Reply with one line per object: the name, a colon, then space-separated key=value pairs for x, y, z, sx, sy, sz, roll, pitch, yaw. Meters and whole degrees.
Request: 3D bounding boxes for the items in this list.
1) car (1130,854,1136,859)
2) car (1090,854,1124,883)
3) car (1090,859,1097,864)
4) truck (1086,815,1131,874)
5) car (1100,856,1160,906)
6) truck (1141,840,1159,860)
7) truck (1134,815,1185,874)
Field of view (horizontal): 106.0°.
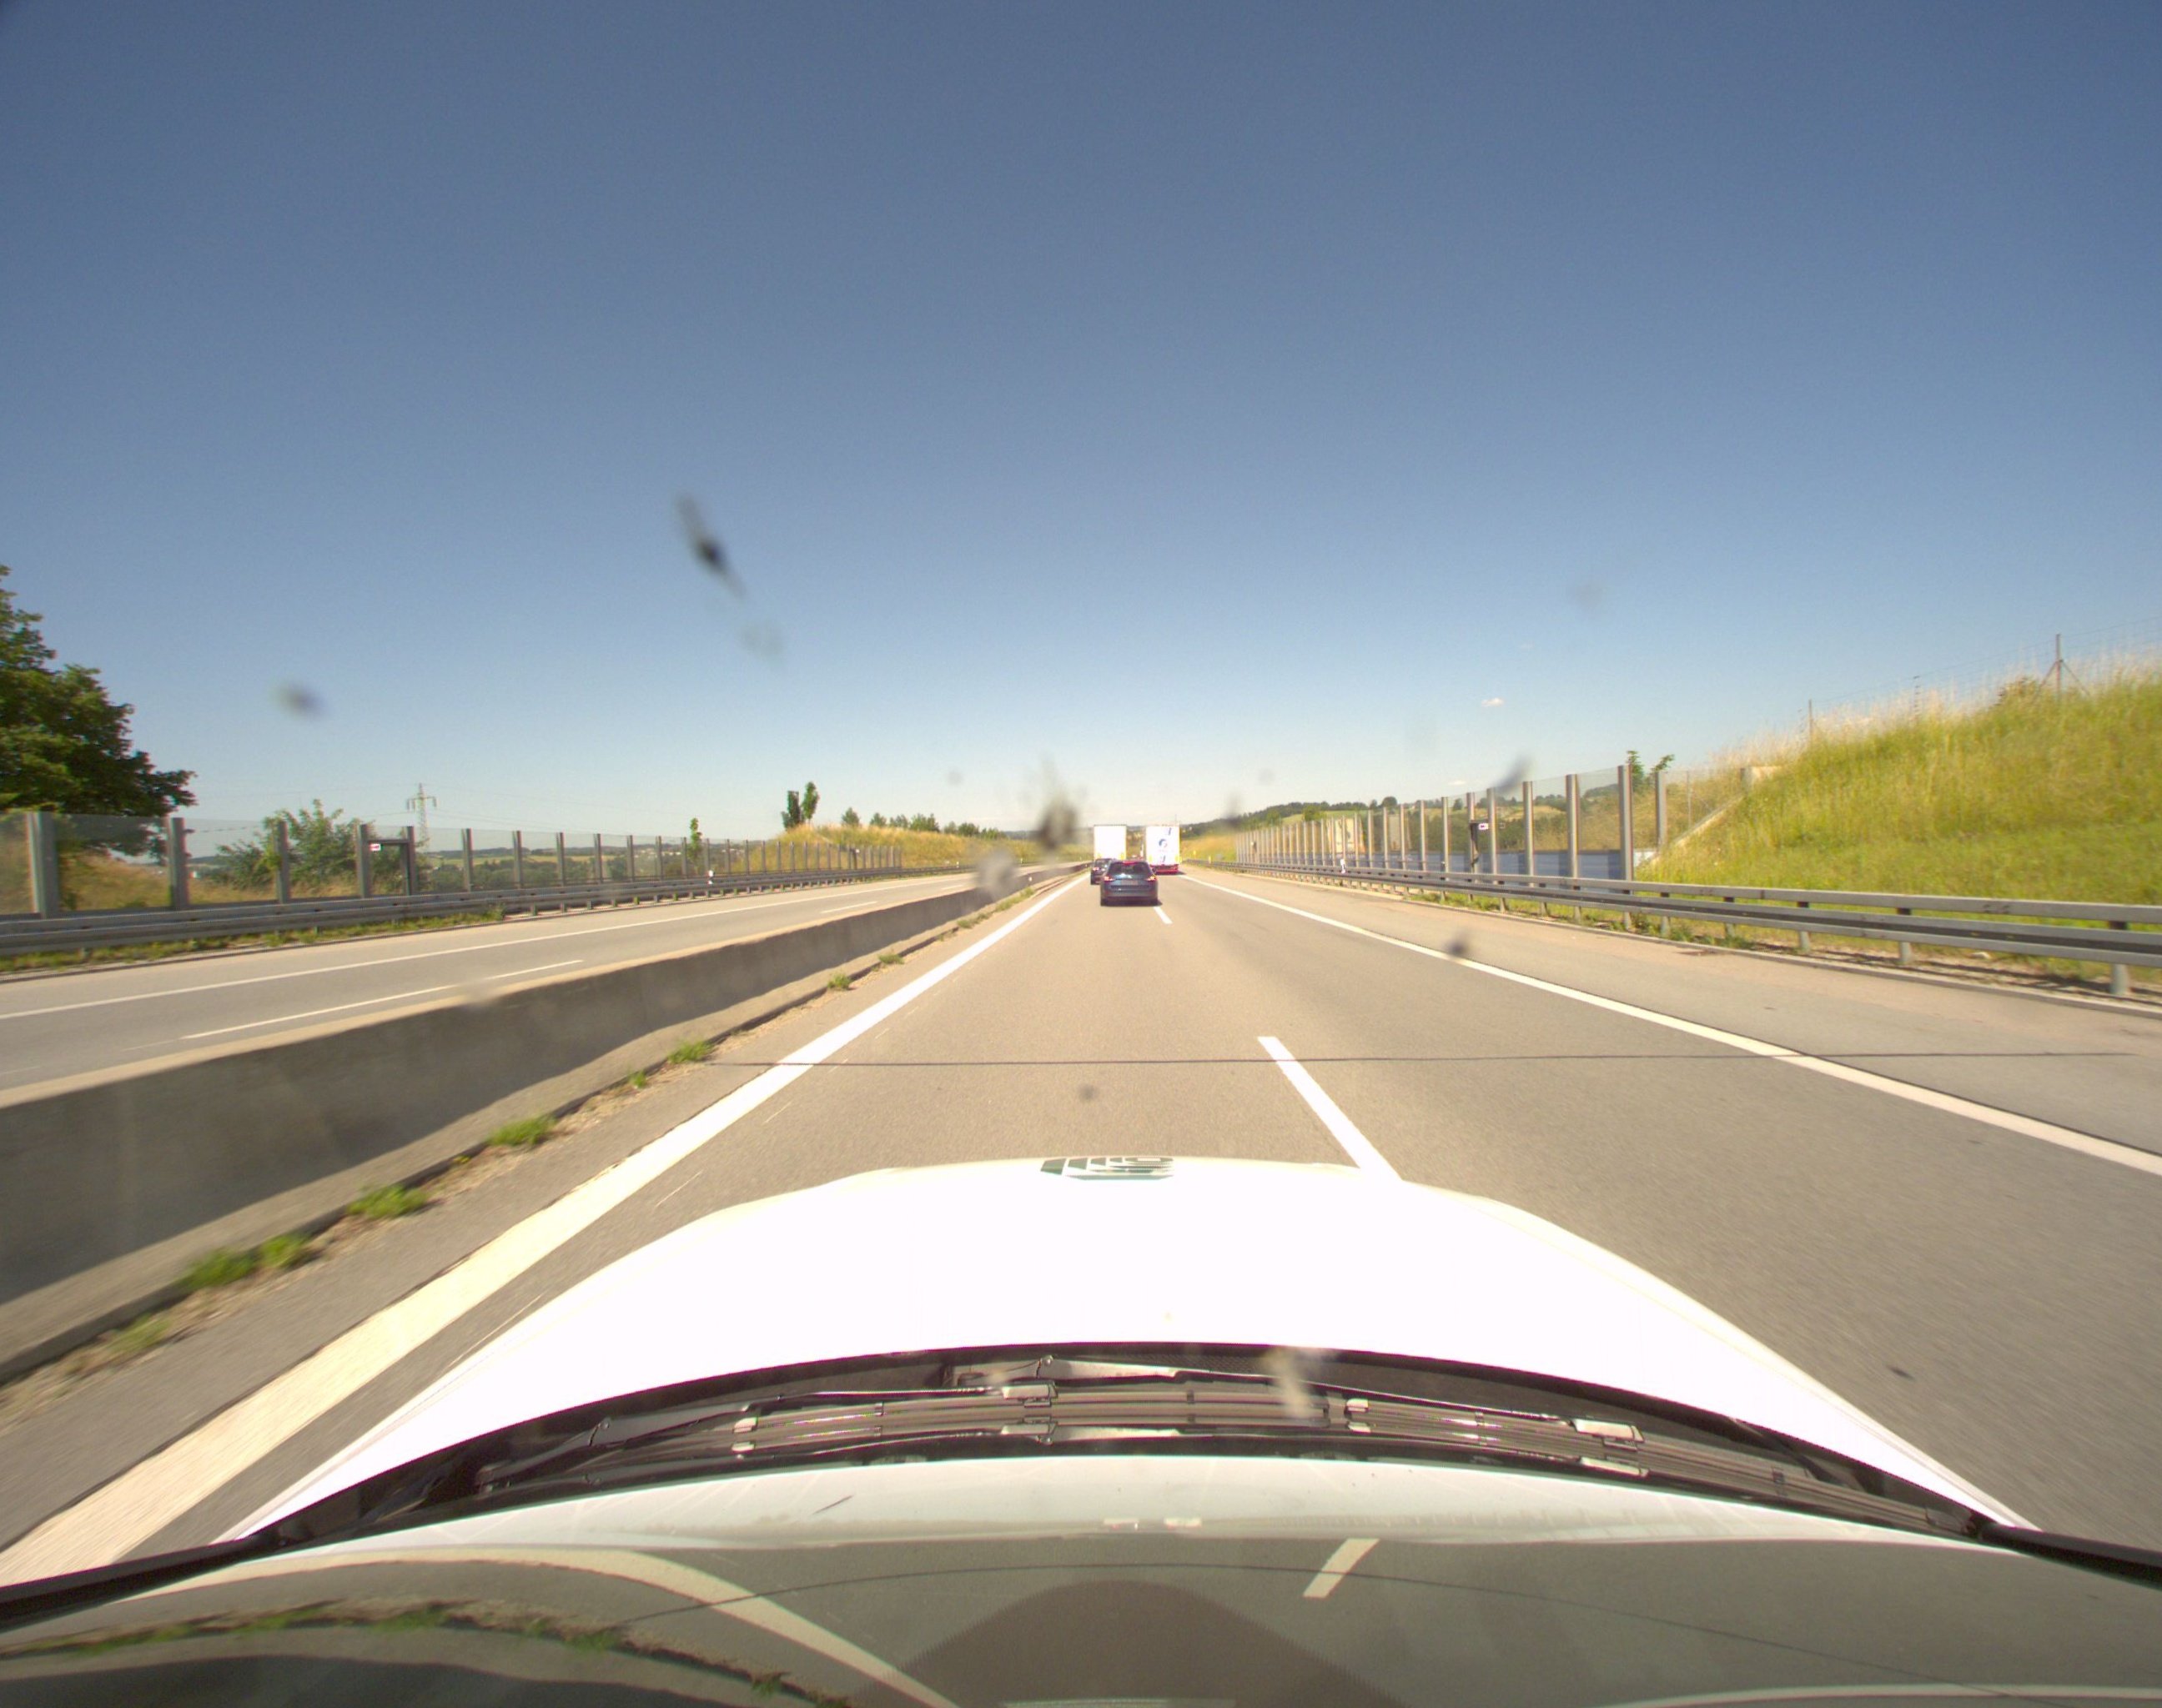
car: x=14.950 y=0.599 z=233.344 sx=1.693 sy=1.441 sz=4.002 roll=-1 pitch=0 yaw=2
car: x=1.401 y=0.787 z=45.137 sx=1.695 sy=1.441 sz=3.999 roll=-4 pitch=0 yaw=-1
car: x=3.471 y=2.085 z=221.054 sx=1.739 sy=1.356 sz=4.003 roll=-4 pitch=0 yaw=3
truck: x=2.497 y=-0.714 z=68.823 sx=3.197 sy=4.381 sz=11.244 roll=-4 pitch=0 yaw=3
car: x=1.518 y=0.807 z=26.087 sx=1.770 sy=1.441 sz=3.790 roll=-1 pitch=0 yaw=2
truck: x=15.740 y=-0.884 z=185.822 sx=3.589 sy=4.381 sz=11.243 roll=-4 pitch=0 yaw=3
truck: x=6.494 y=-0.759 z=69.111 sx=3.589 sy=4.381 sz=11.243 roll=-4 pitch=0 yaw=3
